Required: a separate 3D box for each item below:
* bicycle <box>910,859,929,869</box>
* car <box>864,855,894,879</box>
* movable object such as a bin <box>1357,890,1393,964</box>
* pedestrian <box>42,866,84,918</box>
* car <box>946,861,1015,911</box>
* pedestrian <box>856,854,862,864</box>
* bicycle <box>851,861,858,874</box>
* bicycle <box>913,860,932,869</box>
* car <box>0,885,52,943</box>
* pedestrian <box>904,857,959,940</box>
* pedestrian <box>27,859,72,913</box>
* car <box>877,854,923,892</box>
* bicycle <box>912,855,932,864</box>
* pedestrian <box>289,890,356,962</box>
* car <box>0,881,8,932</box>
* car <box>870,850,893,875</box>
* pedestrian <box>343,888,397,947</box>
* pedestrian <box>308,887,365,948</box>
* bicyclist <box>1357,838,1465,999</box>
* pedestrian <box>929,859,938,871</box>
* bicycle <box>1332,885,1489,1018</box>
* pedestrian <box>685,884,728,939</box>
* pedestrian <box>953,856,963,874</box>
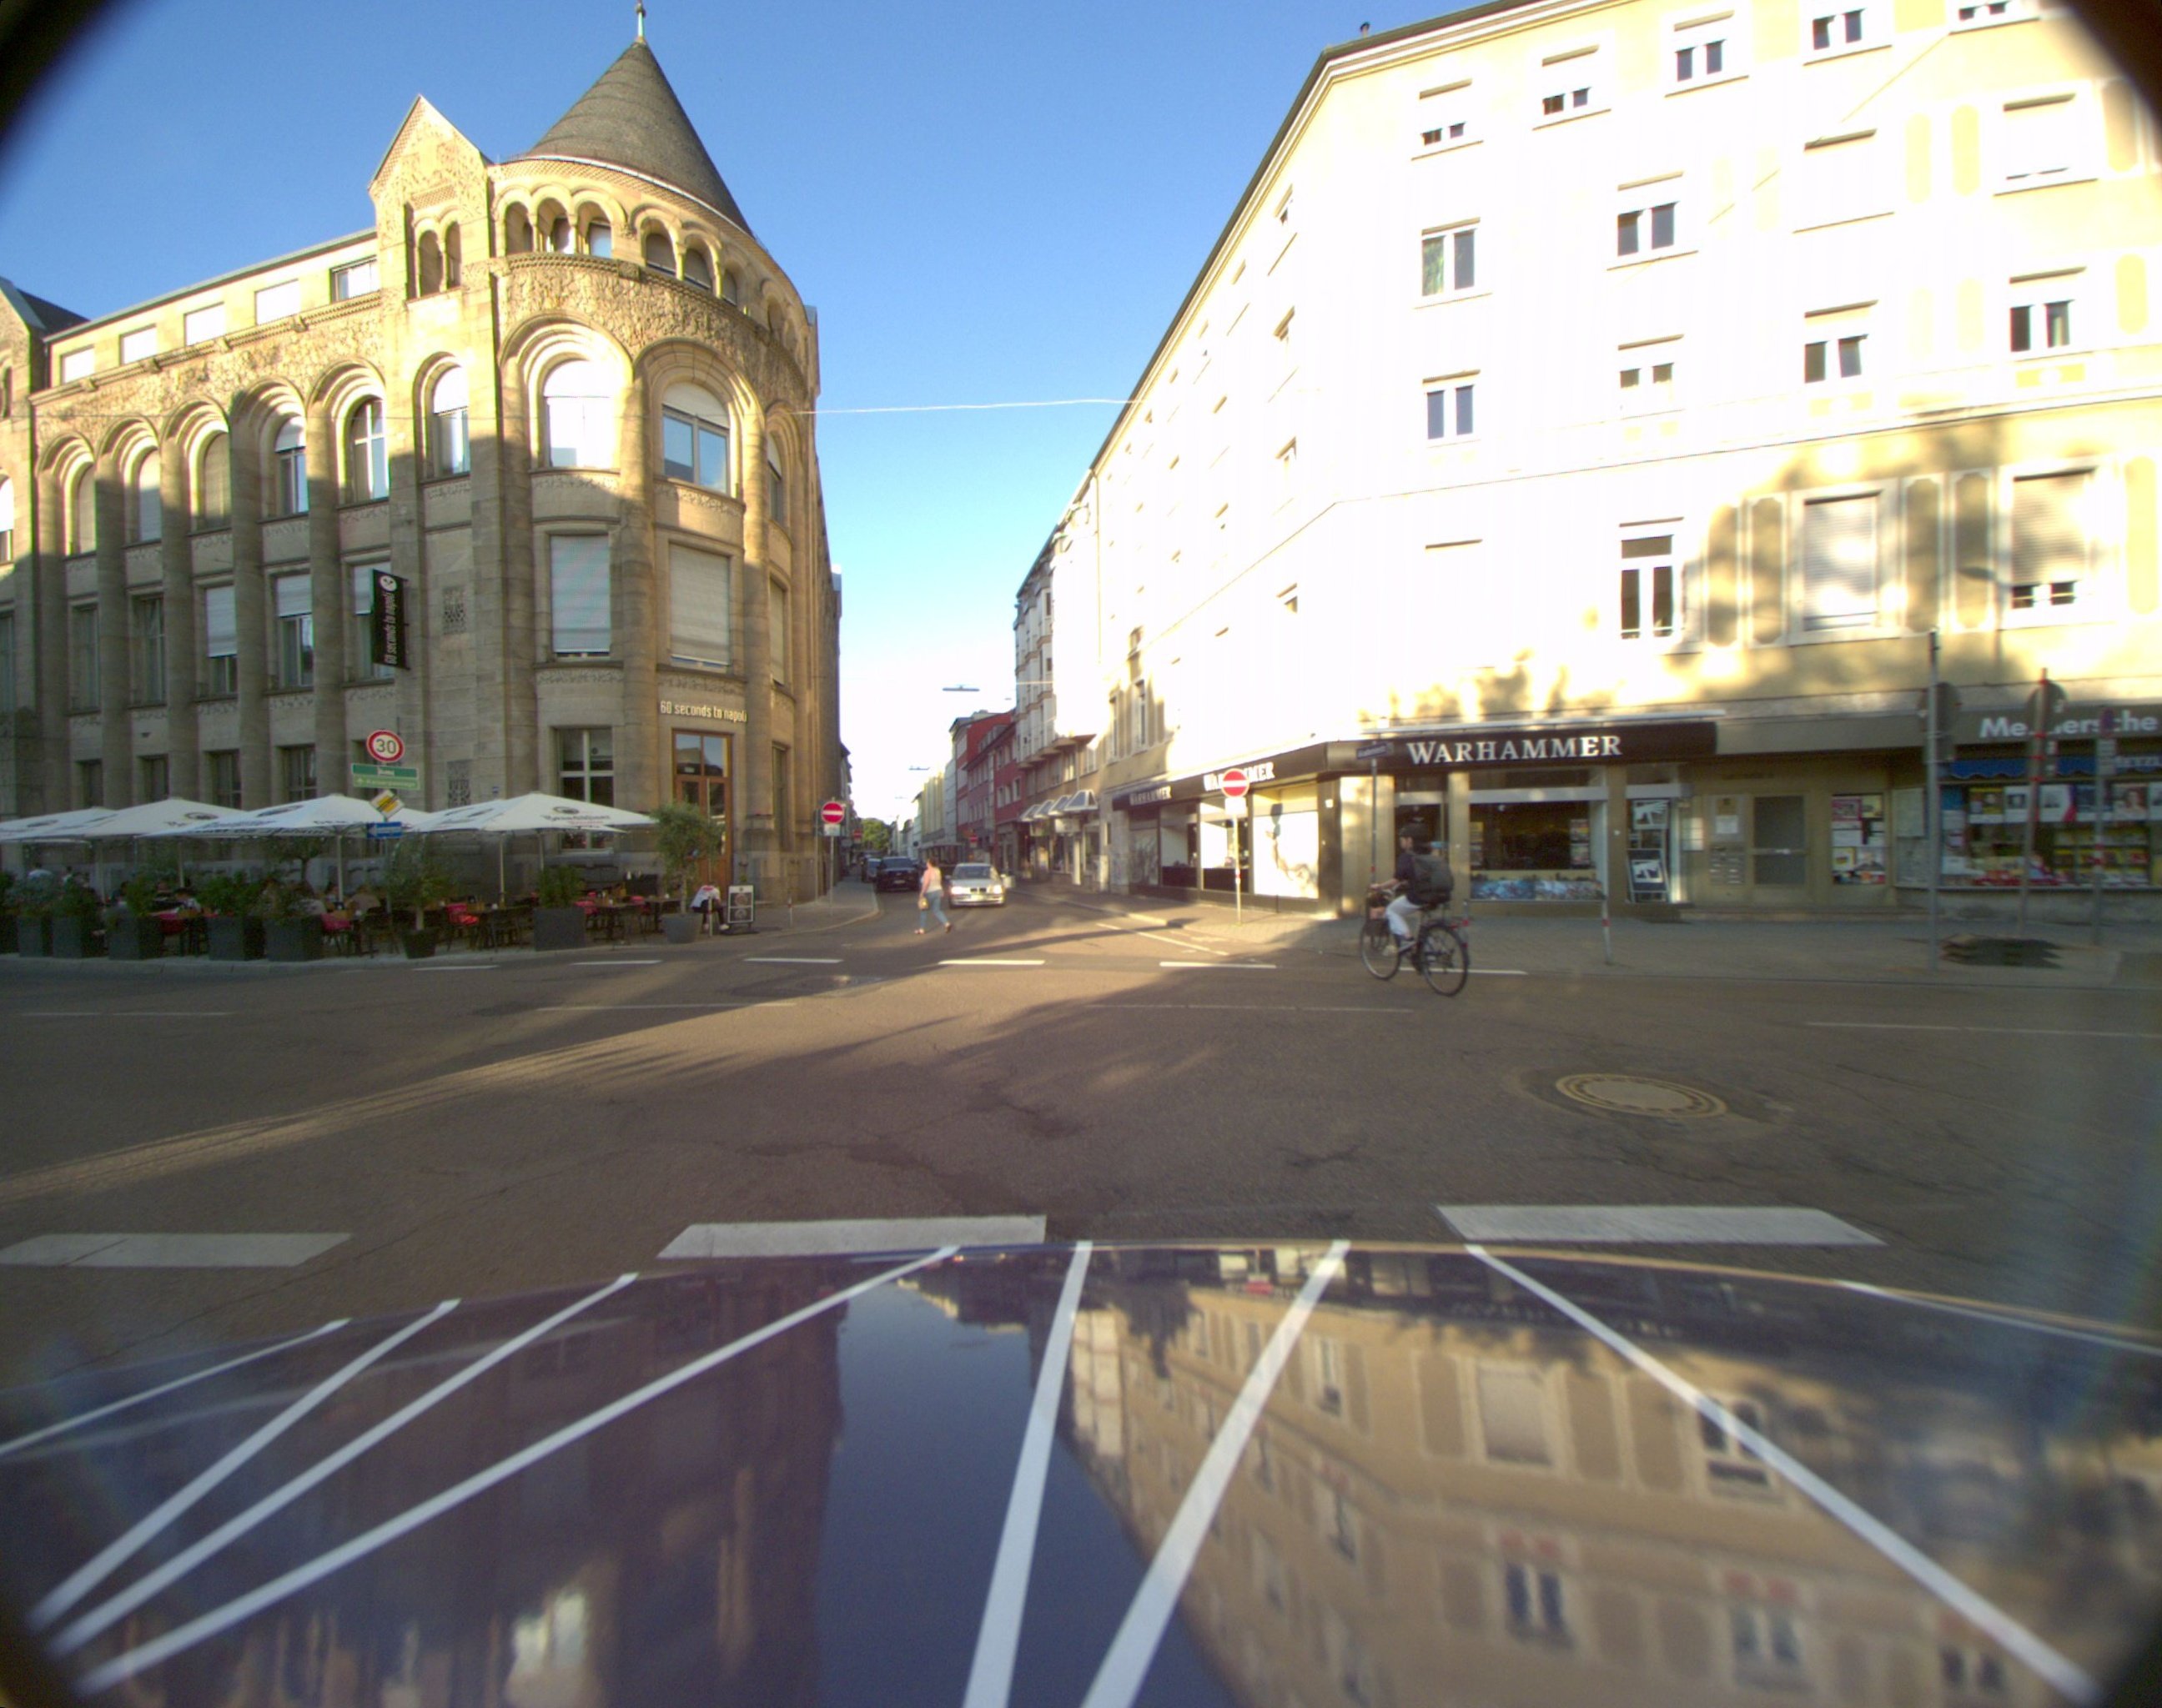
[{"bbox_3d":[-22.485,1.390,105.905,2.484,1.322,0.783,-1,1,-10],"label":"bicycle"},{"bbox_3d":[-14.238,0.886,53.408,1.780,1.656,3.994,-1,0,-18],"label":"car"},{"bbox_3d":[4.418,1.087,11.427,0.360,1.057,0.355,-1,1,-26],"label":"movable object such as a bin"},{"bbox_3d":[-34.566,1.290,25.805,0.628,1.720,0.598,0,1,12],"label":"pedestrian"},{"bbox_3d":[-3.389,0.963,24.892,2.000,1.414,4.454,-1,0,-10],"label":"car"},{"bbox_3d":[-27.820,0.648,95.207,0.737,1.236,0.645,-2,1,-14],"label":"pedestrian"},{"bbox_3d":[-20.302,1.209,68.236,0.521,1.083,1.750,3,-1,-16],"label":"bicycle"},{"bbox_3d":[-21.546,1.388,103.192,2.484,1.172,0.783,-1,1,-10],"label":"bicycle"},{"bbox_3d":[-27.871,1.554,18.174,1.756,1.404,4.062,-2,1,-17],"label":"car"},{"bbox_3d":[-3.038,0.880,15.424,0.806,1.603,0.732,-2,1,-44],"label":"pedestrian"},{"bbox_3d":[-33.395,1.032,24.603,0.596,1.720,0.630,-1,1,10],"label":"pedestrian"},{"bbox_3d":[-9.377,0.944,39.124,2.001,1.773,4.927,-1,0,-17],"label":"car"},{"bbox_3d":[-20.716,0.687,99.277,2.484,1.172,0.783,-1,1,-10],"label":"bicycle"},{"bbox_3d":[-13.932,1.305,13.976,0.687,1.238,0.600,-1,0,-24],"label":"pedestrian"},{"bbox_3d":[-30.547,1.504,19.209,1.756,1.404,4.100,-2,1,-17],"label":"car"},{"bbox_3d":[-15.483,0.639,59.054,1.676,1.796,4.234,-1,0,-15],"label":"car"},{"bbox_3d":[-14.917,1.312,15.954,0.572,1.181,0.602,-1,0,19],"label":"pedestrian"},{"bbox_3d":[-15.844,1.330,16.175,0.684,1.238,0.602,-1,0,19],"label":"pedestrian"},{"bbox_3d":[3.410,0.625,7.901,0.660,1.561,0.862,-1,1,-8],"label":"bicyclist"},{"bbox_3d":[-13.363,0.961,68.690,0.635,1.061,0.559,-2,1,-23],"label":"pedestrian"},{"bbox_3d":[3.399,0.953,8.034,0.666,1.132,1.820,-1,1,-7],"label":"bicycle"},{"bbox_3d":[-8.508,1.282,17.290,0.607,1.181,0.821,-1,0,-5],"label":"pedestrian"},{"bbox_3d":[-10.088,0.867,62.404,0.613,1.464,0.546,-2,1,-23],"label":"pedestrian"}]
